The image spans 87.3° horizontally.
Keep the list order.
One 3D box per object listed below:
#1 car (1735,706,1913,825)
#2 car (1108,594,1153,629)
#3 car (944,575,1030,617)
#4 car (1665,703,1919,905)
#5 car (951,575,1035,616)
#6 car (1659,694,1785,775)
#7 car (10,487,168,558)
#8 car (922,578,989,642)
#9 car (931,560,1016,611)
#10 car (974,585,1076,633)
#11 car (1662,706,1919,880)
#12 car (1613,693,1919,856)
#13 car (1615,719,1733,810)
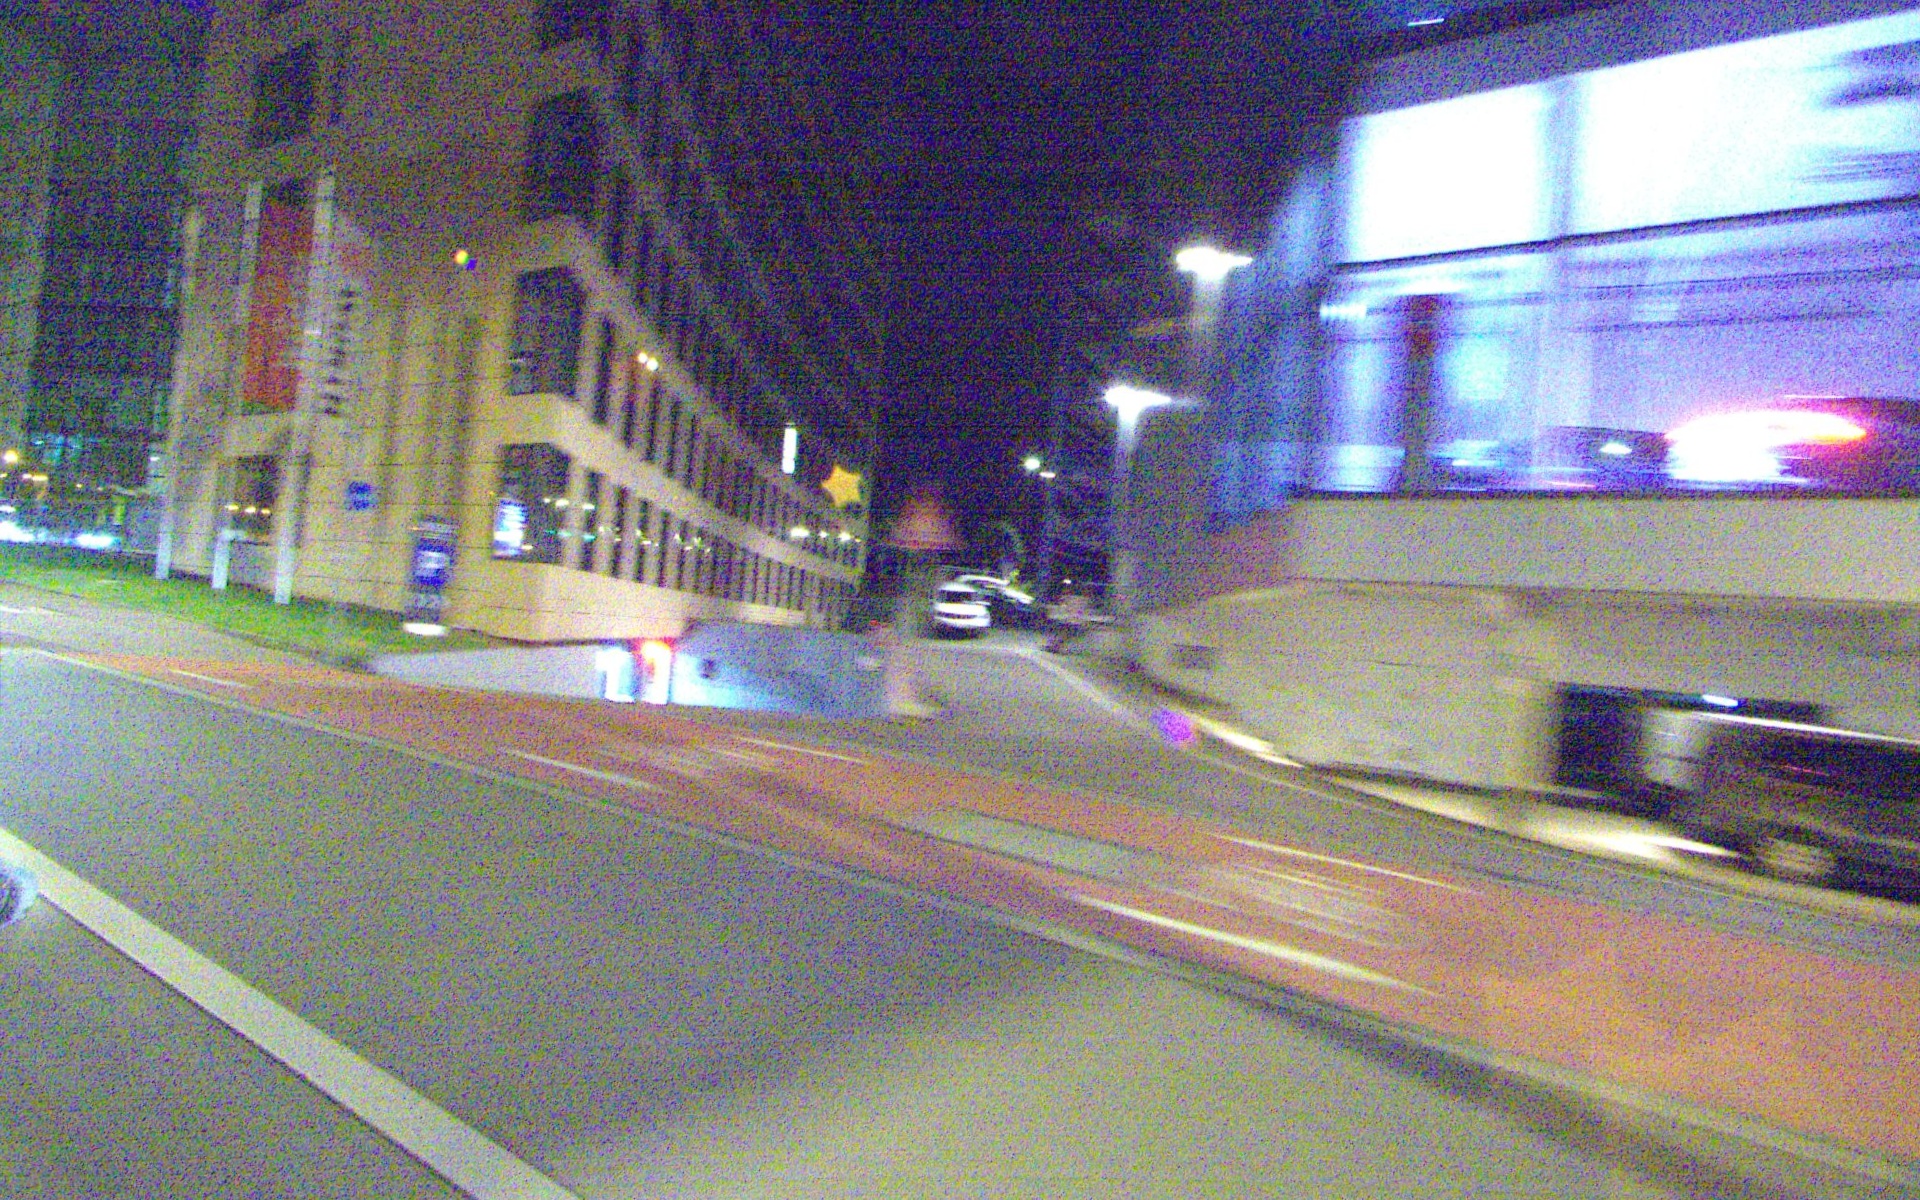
[{"bbox_3d":[18.422,3.439,21.656,1.716,2.037,3.717,6,-2,24],"label":"car"},{"bbox_3d":[10.404,0.746,61.266,1.668,1.711,3.717,6,-2,25],"label":"car"},{"bbox_3d":[1.474,-0.224,54.040,4.304,1.663,1.868,7,-1,7],"label":"car"},{"bbox_3d":[12.250,2.673,12.328,5.530,2.037,1.998,6,-1,28],"label":"car"},{"bbox_3d":[1.879,-0.247,57.071,4.435,1.742,2.002,7,-1,7],"label":"car"},{"bbox_3d":[23.374,4.052,31.064,2.037,2.037,4.598,6,-2,26],"label":"car"},{"bbox_3d":[-31.037,-2.722,35.999,1.962,1.884,3.781,7,-2,7],"label":"car"},{"bbox_3d":[-0.224,0.309,35.580,1.604,1.685,3.982,2,7,-11],"label":"car"},{"bbox_3d":[0.723,-0.742,51.429,3.924,2.037,2.002,7,-1,7],"label":"car"},{"bbox_3d":[2.540,0.323,39.874,3.923,1.671,1.786,2,4,2],"label":"car"},{"bbox_3d":[13.367,2.905,15.022,4.332,2.017,1.816,6,-1,27],"label":"car"},{"bbox_3d":[14.096,2.920,17.395,4.332,2.017,1.956,6,-1,27],"label":"car"},{"bbox_3d":[15.415,3.488,21.894,1.590,1.467,3.728,4,-1,29],"label":"car"}]
